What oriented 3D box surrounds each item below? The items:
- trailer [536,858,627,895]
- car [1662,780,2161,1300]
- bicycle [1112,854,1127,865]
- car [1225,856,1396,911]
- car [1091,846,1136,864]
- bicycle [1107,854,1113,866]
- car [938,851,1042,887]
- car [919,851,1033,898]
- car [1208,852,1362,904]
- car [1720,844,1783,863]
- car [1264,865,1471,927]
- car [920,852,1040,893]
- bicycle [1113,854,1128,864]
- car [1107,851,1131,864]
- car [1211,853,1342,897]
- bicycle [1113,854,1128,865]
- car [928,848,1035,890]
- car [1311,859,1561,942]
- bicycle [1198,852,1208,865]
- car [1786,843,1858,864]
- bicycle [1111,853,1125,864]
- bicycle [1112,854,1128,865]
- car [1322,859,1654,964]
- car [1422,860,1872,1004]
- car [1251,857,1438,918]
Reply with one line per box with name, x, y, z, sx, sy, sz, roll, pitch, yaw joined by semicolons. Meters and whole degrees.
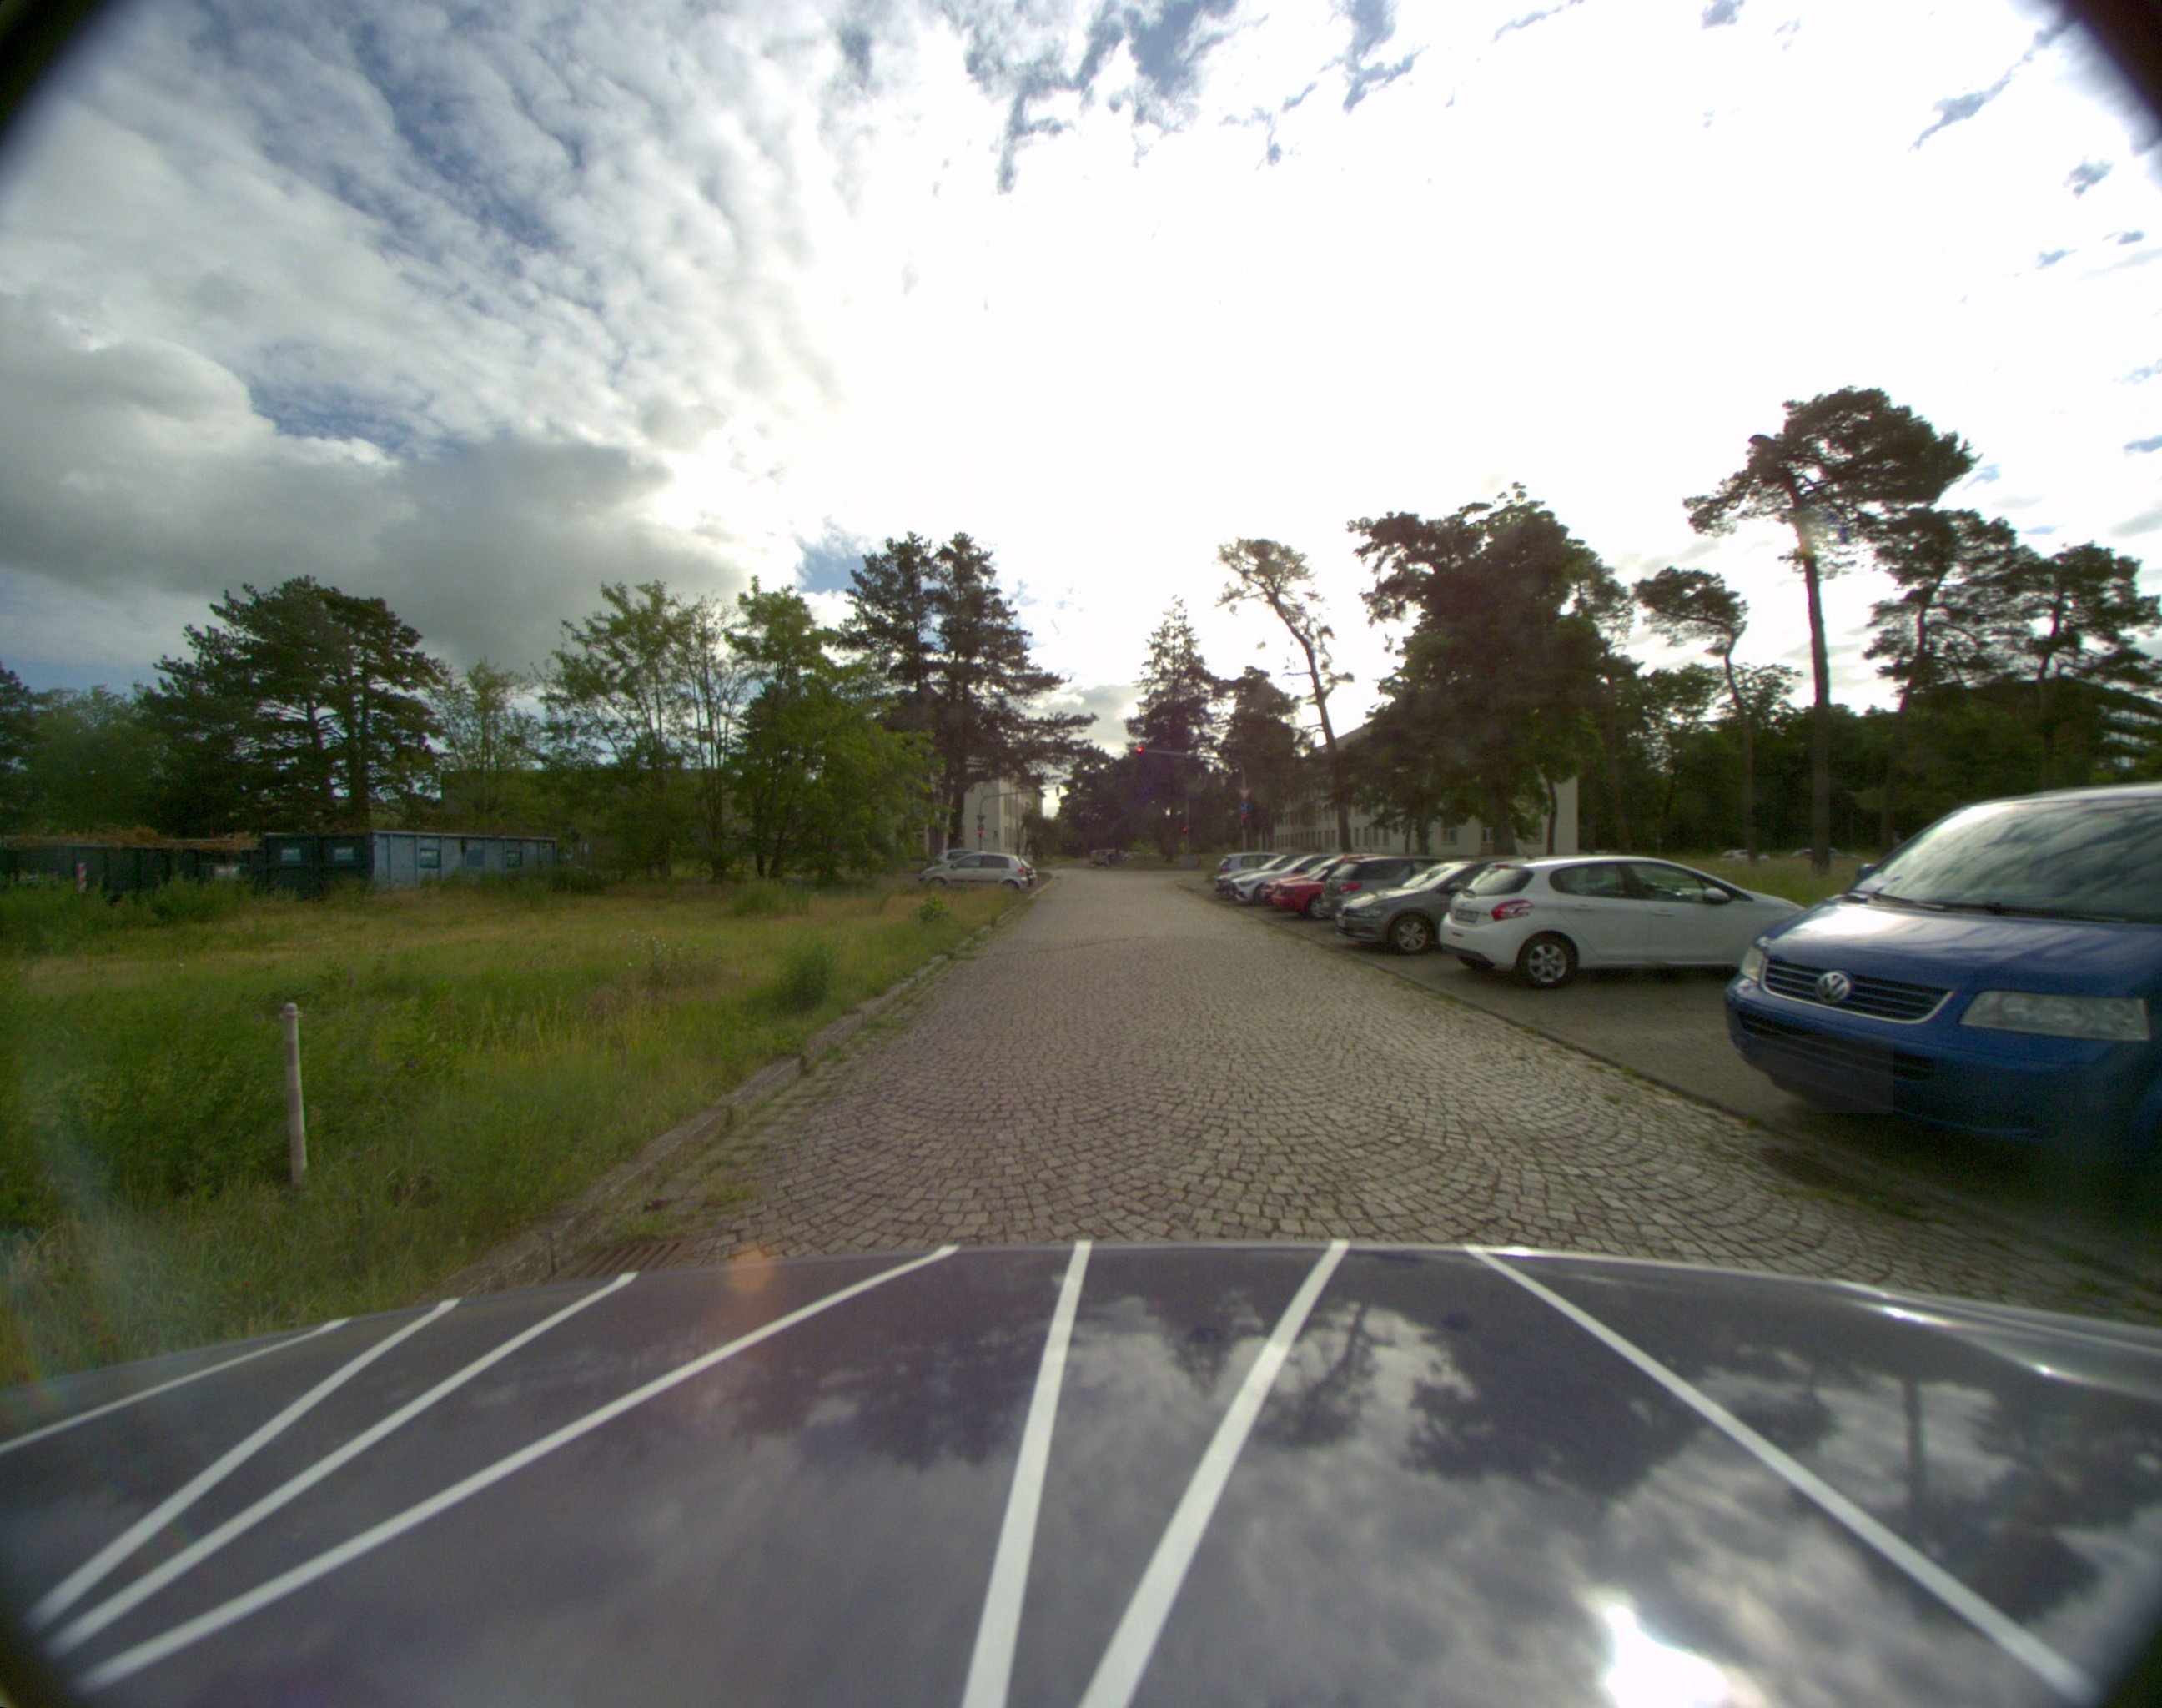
trailer;-17.034;0.749;25.975;2.318;1.163;1.143;-2;1;0
car;6.114;0.670;3.881;4.721;1.969;2.038;-1;0;0
bicycle;3.879;0.534;76.438;1.457;1.033;0.497;-3;1;-7
car;6.616;0.835;22.301;4.447;1.447;1.949;-1;1;2
car;4.030;0.134;94.543;5.172;1.906;2.034;-3;0;-12
bicycle;2.831;0.604;73.457;0.497;1.068;1.416;-3;1;0
car;-4.128;0.680;34.905;4.562;1.417;1.826;2;1;-2
car;-3.640;0.705;26.929;3.782;1.471;1.743;2;0;-2
car;6.627;0.761;24.986;4.513;1.528;1.870;-1;1;-2
car;60.705;-0.088;68.850;4.053;1.601;1.717;-1;2;5
car;6.515;0.945;17.610;4.141;1.276;1.764;-1;0;1
car;-3.863;0.696;29.636;4.377;1.397;1.796;2;0;-1
bicycle;4.077;0.525;78.850;1.456;1.033;0.497;-3;1;-4
car;4.551;0.374;91.200;2.771;1.407;1.592;-3;0;0
car;7.022;0.749;27.606;4.339;1.462;1.827;-1;1;2
bicycle;4.097;0.537;78.265;1.456;1.033;0.497;-3;1;-4
car;-4.184;0.623;32.327;4.342;1.565;1.826;2;1;-4
car;6.816;0.872;14.922;4.097;1.472;1.755;-1;0;2
bicycle;10.262;0.373;64.025;0.497;1.068;1.416;-3;1;-2
car;59.875;-0.052;61.457;4.054;1.601;1.716;-1;2;3
bicycle;4.019;0.503;83.149;1.456;1.033;0.497;-3;1;-4
bicycle;3.953;0.541;77.232;1.456;1.033;0.497;-3;1;-4
car;6.252;0.860;12.048;4.314;1.472;1.731;-1;0;3
car;6.545;0.863;9.177;4.014;1.493;1.843;-1;0;3
car;6.812;0.849;19.987;4.264;1.447;1.855;-1;0;1
